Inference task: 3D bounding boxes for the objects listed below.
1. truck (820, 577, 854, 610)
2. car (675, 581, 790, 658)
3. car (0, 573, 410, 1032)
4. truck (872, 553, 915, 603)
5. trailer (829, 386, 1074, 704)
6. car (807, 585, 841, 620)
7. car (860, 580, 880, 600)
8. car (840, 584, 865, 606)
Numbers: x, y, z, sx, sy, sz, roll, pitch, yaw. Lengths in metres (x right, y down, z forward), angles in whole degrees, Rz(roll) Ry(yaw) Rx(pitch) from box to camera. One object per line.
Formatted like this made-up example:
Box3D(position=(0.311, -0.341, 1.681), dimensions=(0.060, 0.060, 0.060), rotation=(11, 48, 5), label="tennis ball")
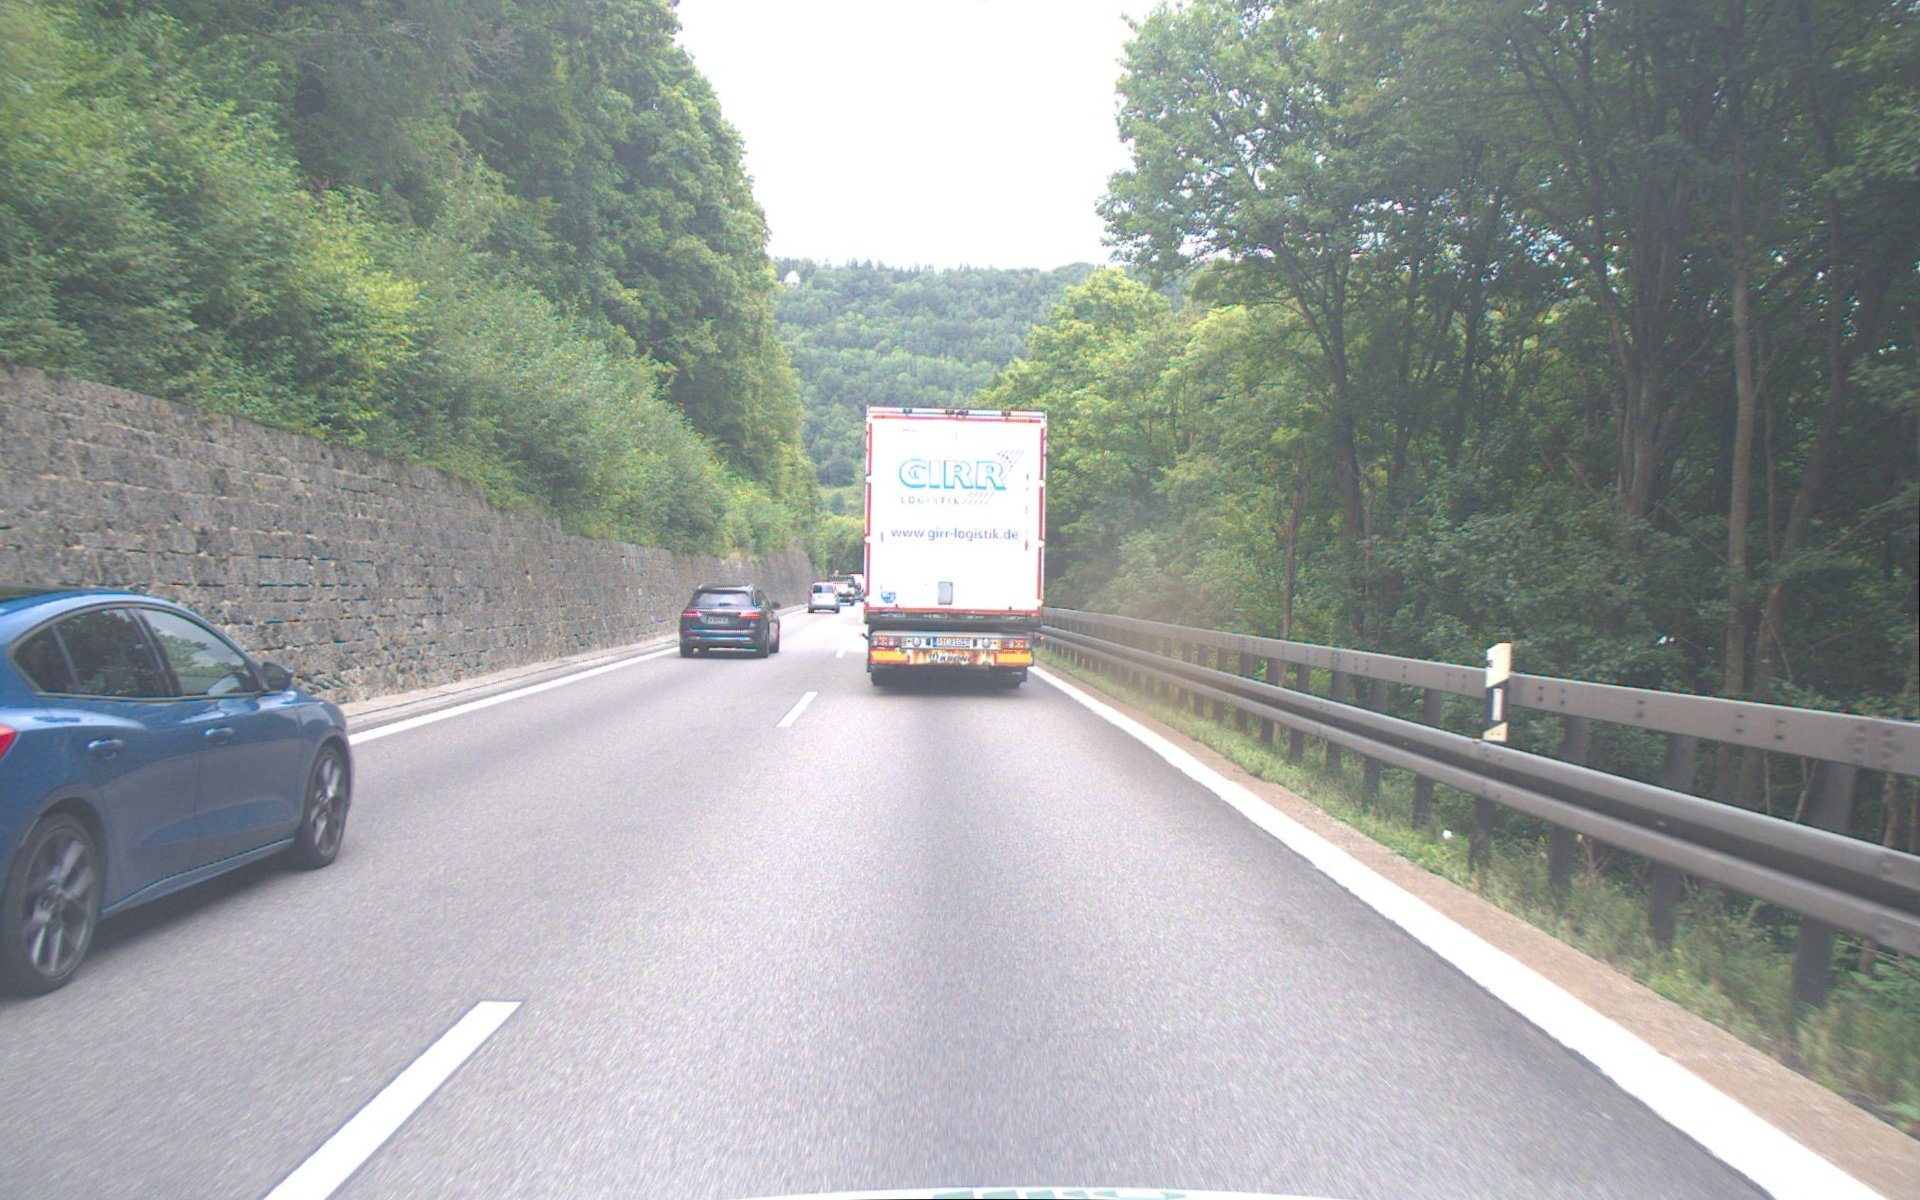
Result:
Box3D(position=(-9.196, -0.502, 124.063), dimensions=(2.303, 2.313, 6.845), rotation=(3, 0, -3), label="truck")
Box3D(position=(-4.762, 0.365, 35.334), dimensions=(1.724, 1.489, 5.122), rotation=(1, 1, 0), label="car")
Box3D(position=(-4.047, 0.638, 7.260), dimensions=(1.799, 1.494, 4.554), rotation=(1, 0, -1), label="car")
Box3D(position=(-5.769, -1.845, 141.278), dimensions=(3.009, 3.944, 8.448), rotation=(3, 0, -6), label="truck")
Box3D(position=(-0.311, -0.806, 27.356), dimensions=(3.071, 4.112, 9.435), rotation=(4, 1, -3), label="trailer")
Box3D(position=(-7.324, 0.127, 89.523), dimensions=(1.601, 1.757, 4.343), rotation=(2, 0, -2), label="car")
Box3D(position=(-9.618, -1.047, 176.139), dimensions=(1.954, 2.049, 3.998), rotation=(3, 0, -2), label="car")
Box3D(position=(-9.953, -0.481, 153.722), dimensions=(1.977, 1.947, 5.562), rotation=(3, 0, -1), label="car")
